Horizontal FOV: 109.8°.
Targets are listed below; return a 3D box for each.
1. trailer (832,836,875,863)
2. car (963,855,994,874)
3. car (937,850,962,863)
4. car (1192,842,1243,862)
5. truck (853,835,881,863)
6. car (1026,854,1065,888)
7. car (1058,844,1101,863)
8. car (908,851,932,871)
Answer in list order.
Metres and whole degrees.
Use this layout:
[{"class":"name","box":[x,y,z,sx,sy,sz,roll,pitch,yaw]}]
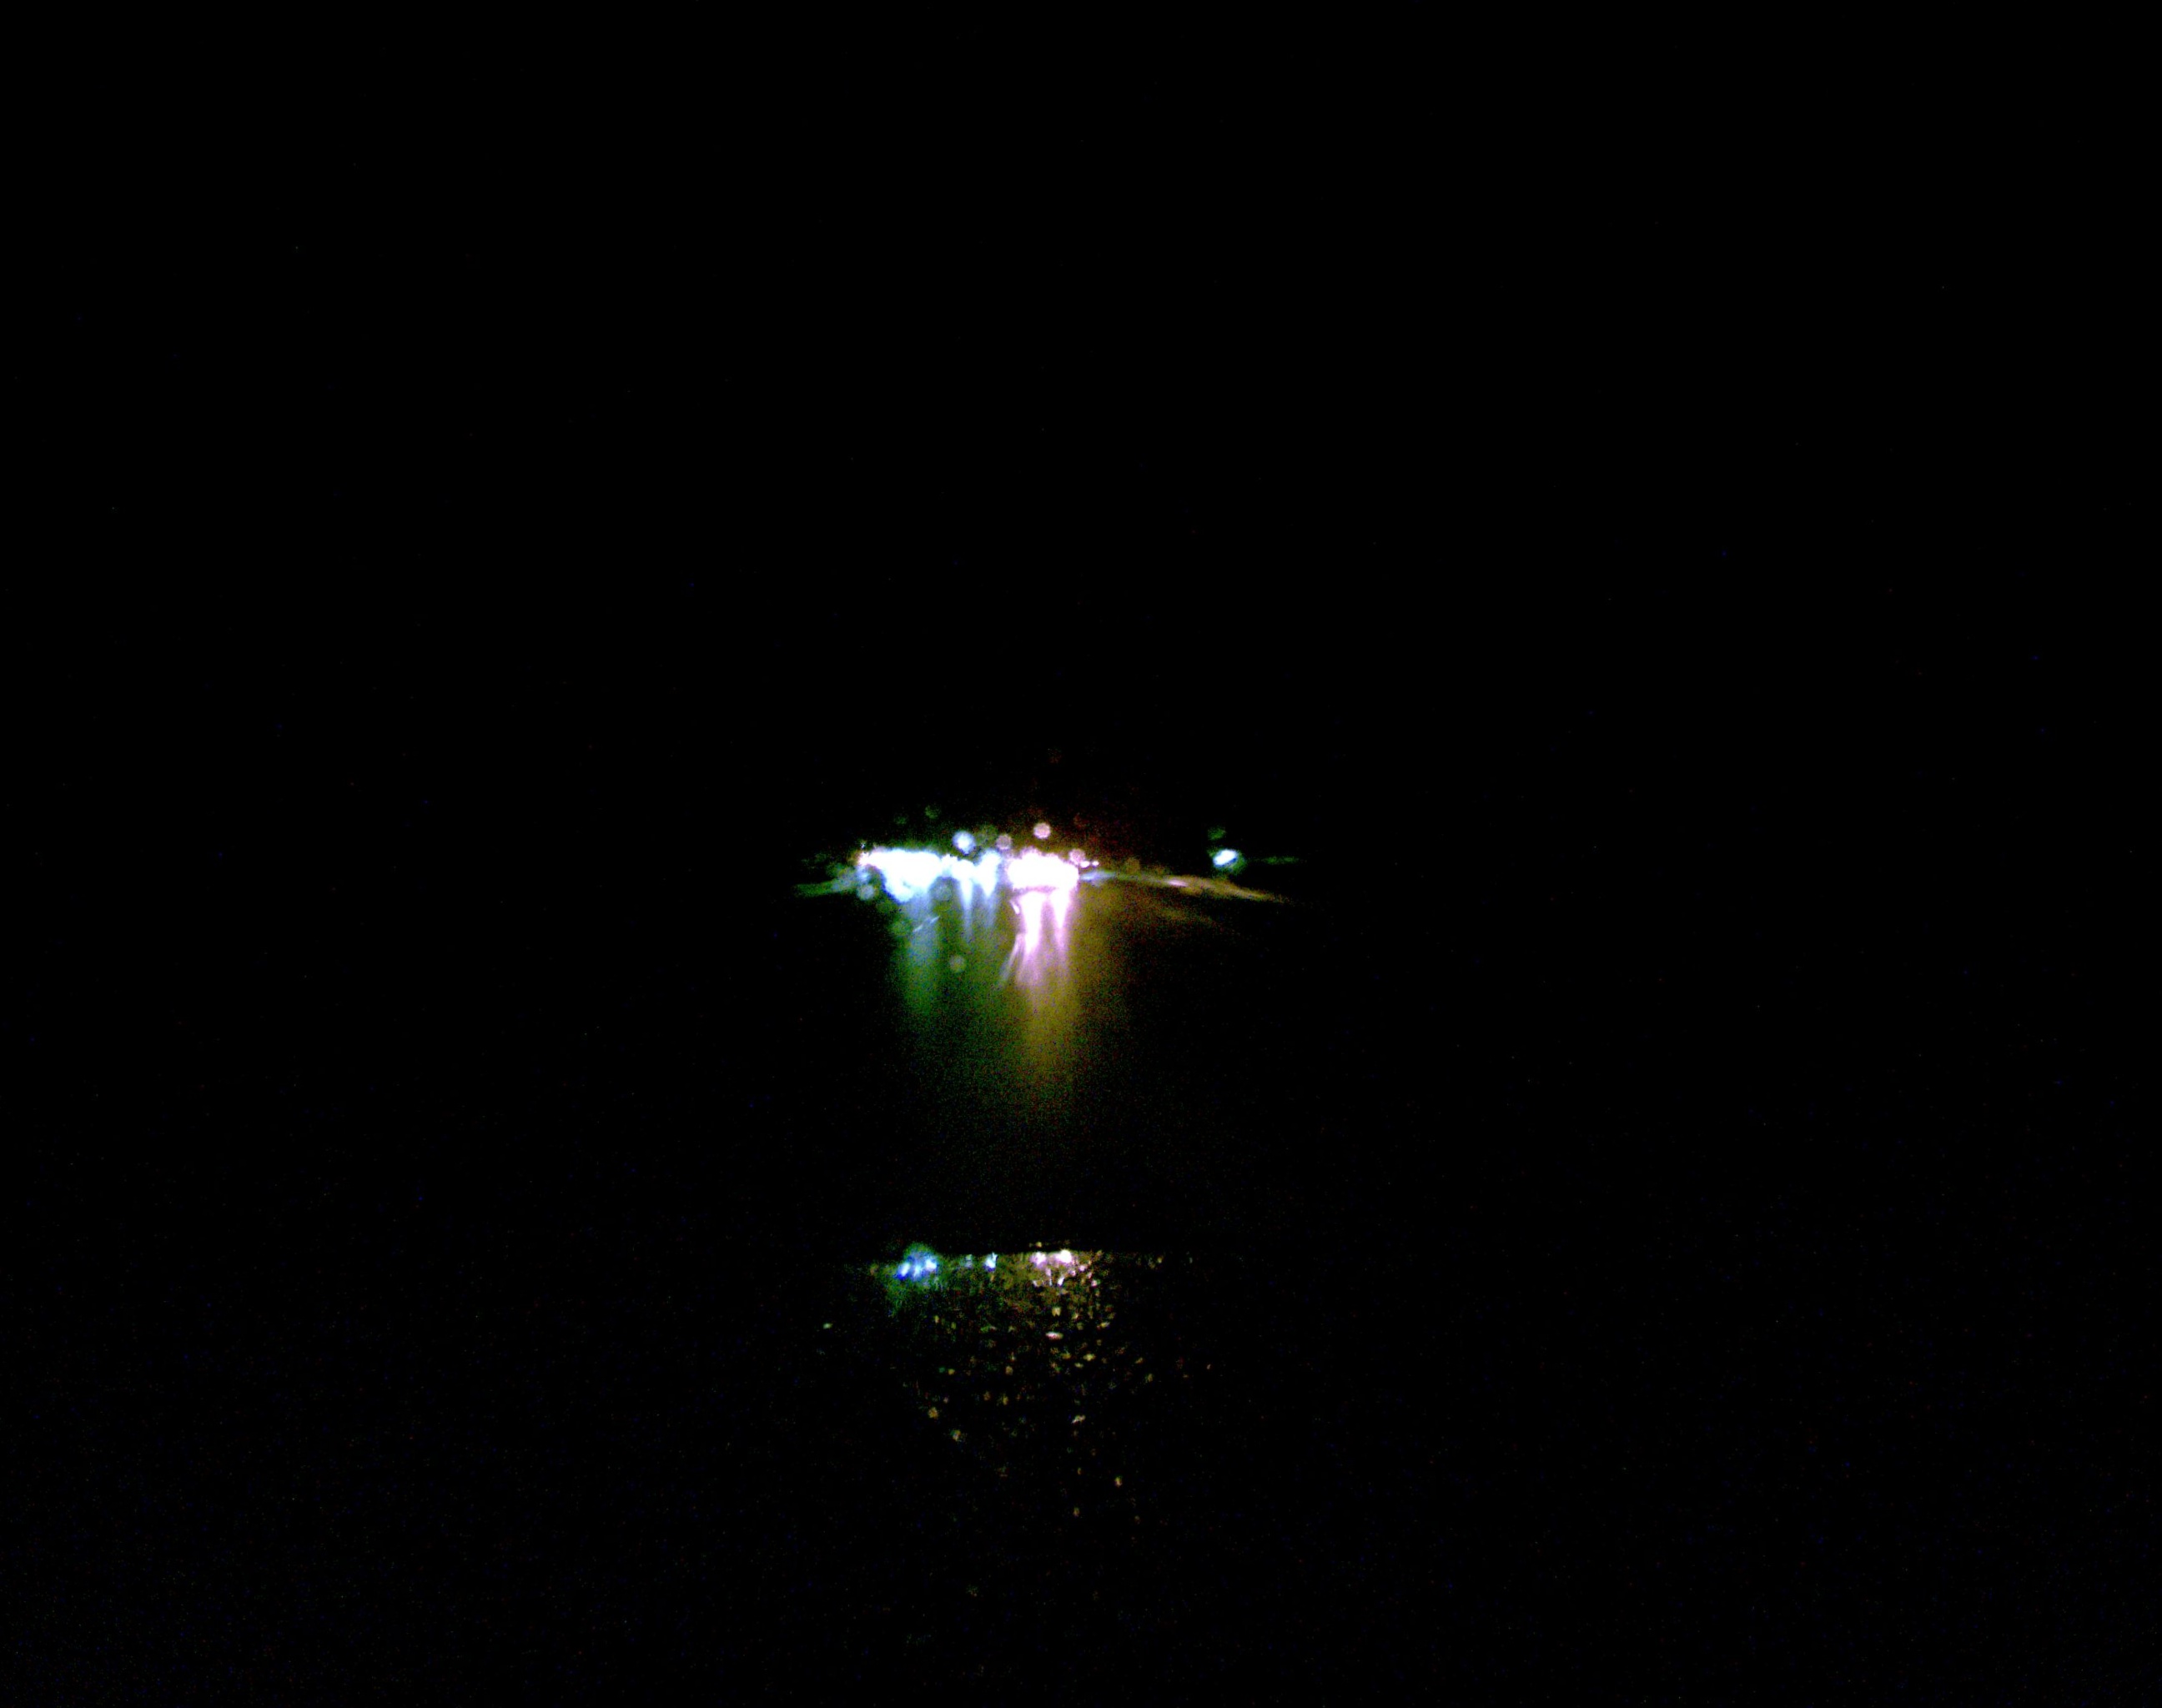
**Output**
[{"class":"trailer","box":[-39.459,-0.704,131.318,2.544,4.312,13.674,-4,1,-35]},{"class":"car","box":[-7.637,0.759,56.440,1.762,1.304,4.080,-1,0,-15]},{"class":"car","box":[-18.604,0.355,107.407,1.793,1.641,4.042,-3,2,-34]},{"class":"car","box":[11.408,-0.174,63.657,1.893,1.532,4.100,-3,1,-34]},{"class":"truck","box":[-35.378,-0.792,125.570,2.544,4.312,5.549,-4,2,-35]},{"class":"car","box":[-1.716,0.751,35.625,1.687,1.442,3.640,-3,0,-4]},{"class":"car","box":[-0.201,-0.011,67.214,1.734,1.473,4.031,-6,2,-35]},{"class":"car","box":[-14.910,0.677,70.275,1.743,1.674,4.114,-4,1,-16]}]
